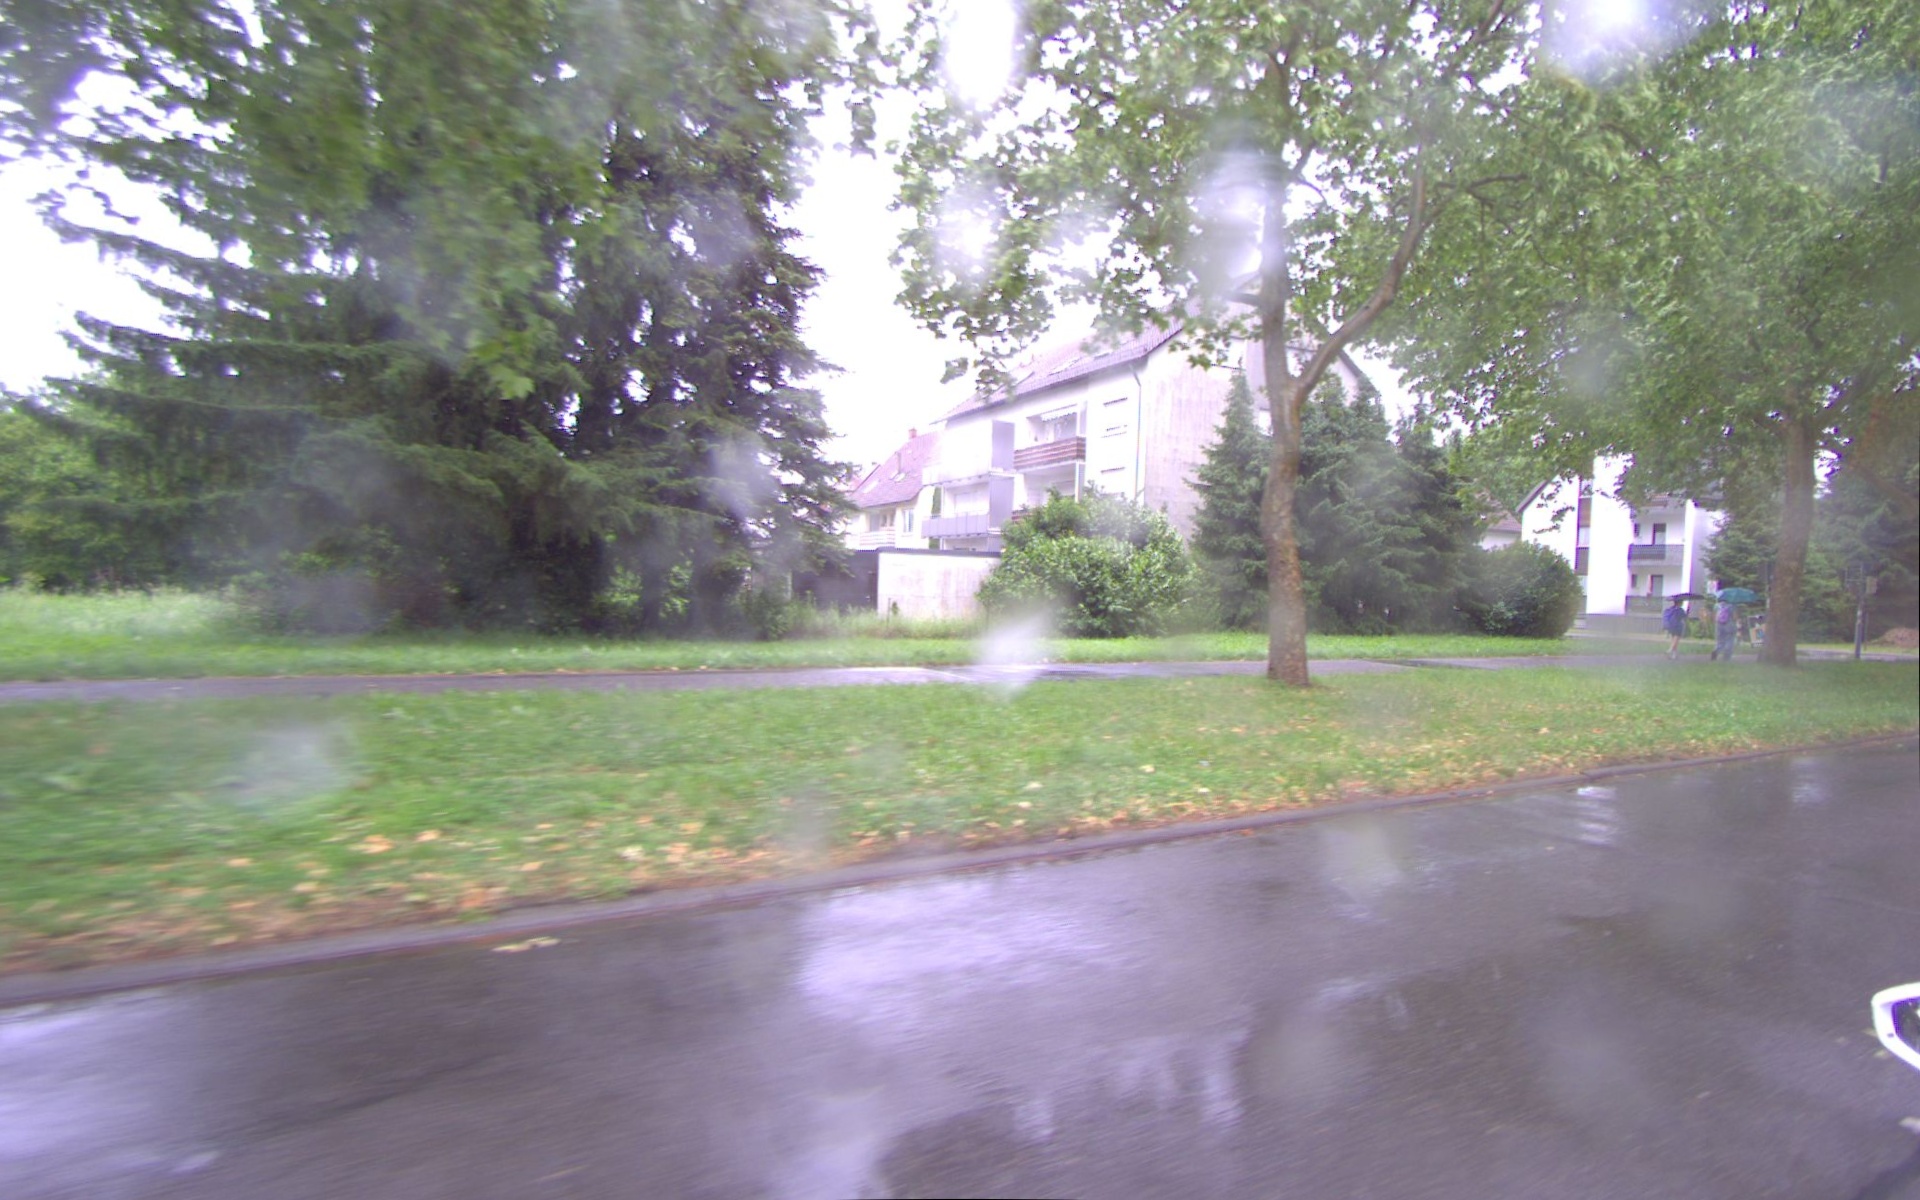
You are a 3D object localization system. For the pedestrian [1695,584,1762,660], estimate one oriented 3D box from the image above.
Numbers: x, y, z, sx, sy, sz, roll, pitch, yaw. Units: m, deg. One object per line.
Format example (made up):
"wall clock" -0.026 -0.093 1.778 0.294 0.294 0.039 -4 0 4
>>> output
"pedestrian" 18.640 0.518 24.366 0.828 1.789 1.028 1 1 -30

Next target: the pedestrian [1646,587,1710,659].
"pedestrian" 18.195 0.570 25.456 0.869 1.789 1.028 1 1 -30
